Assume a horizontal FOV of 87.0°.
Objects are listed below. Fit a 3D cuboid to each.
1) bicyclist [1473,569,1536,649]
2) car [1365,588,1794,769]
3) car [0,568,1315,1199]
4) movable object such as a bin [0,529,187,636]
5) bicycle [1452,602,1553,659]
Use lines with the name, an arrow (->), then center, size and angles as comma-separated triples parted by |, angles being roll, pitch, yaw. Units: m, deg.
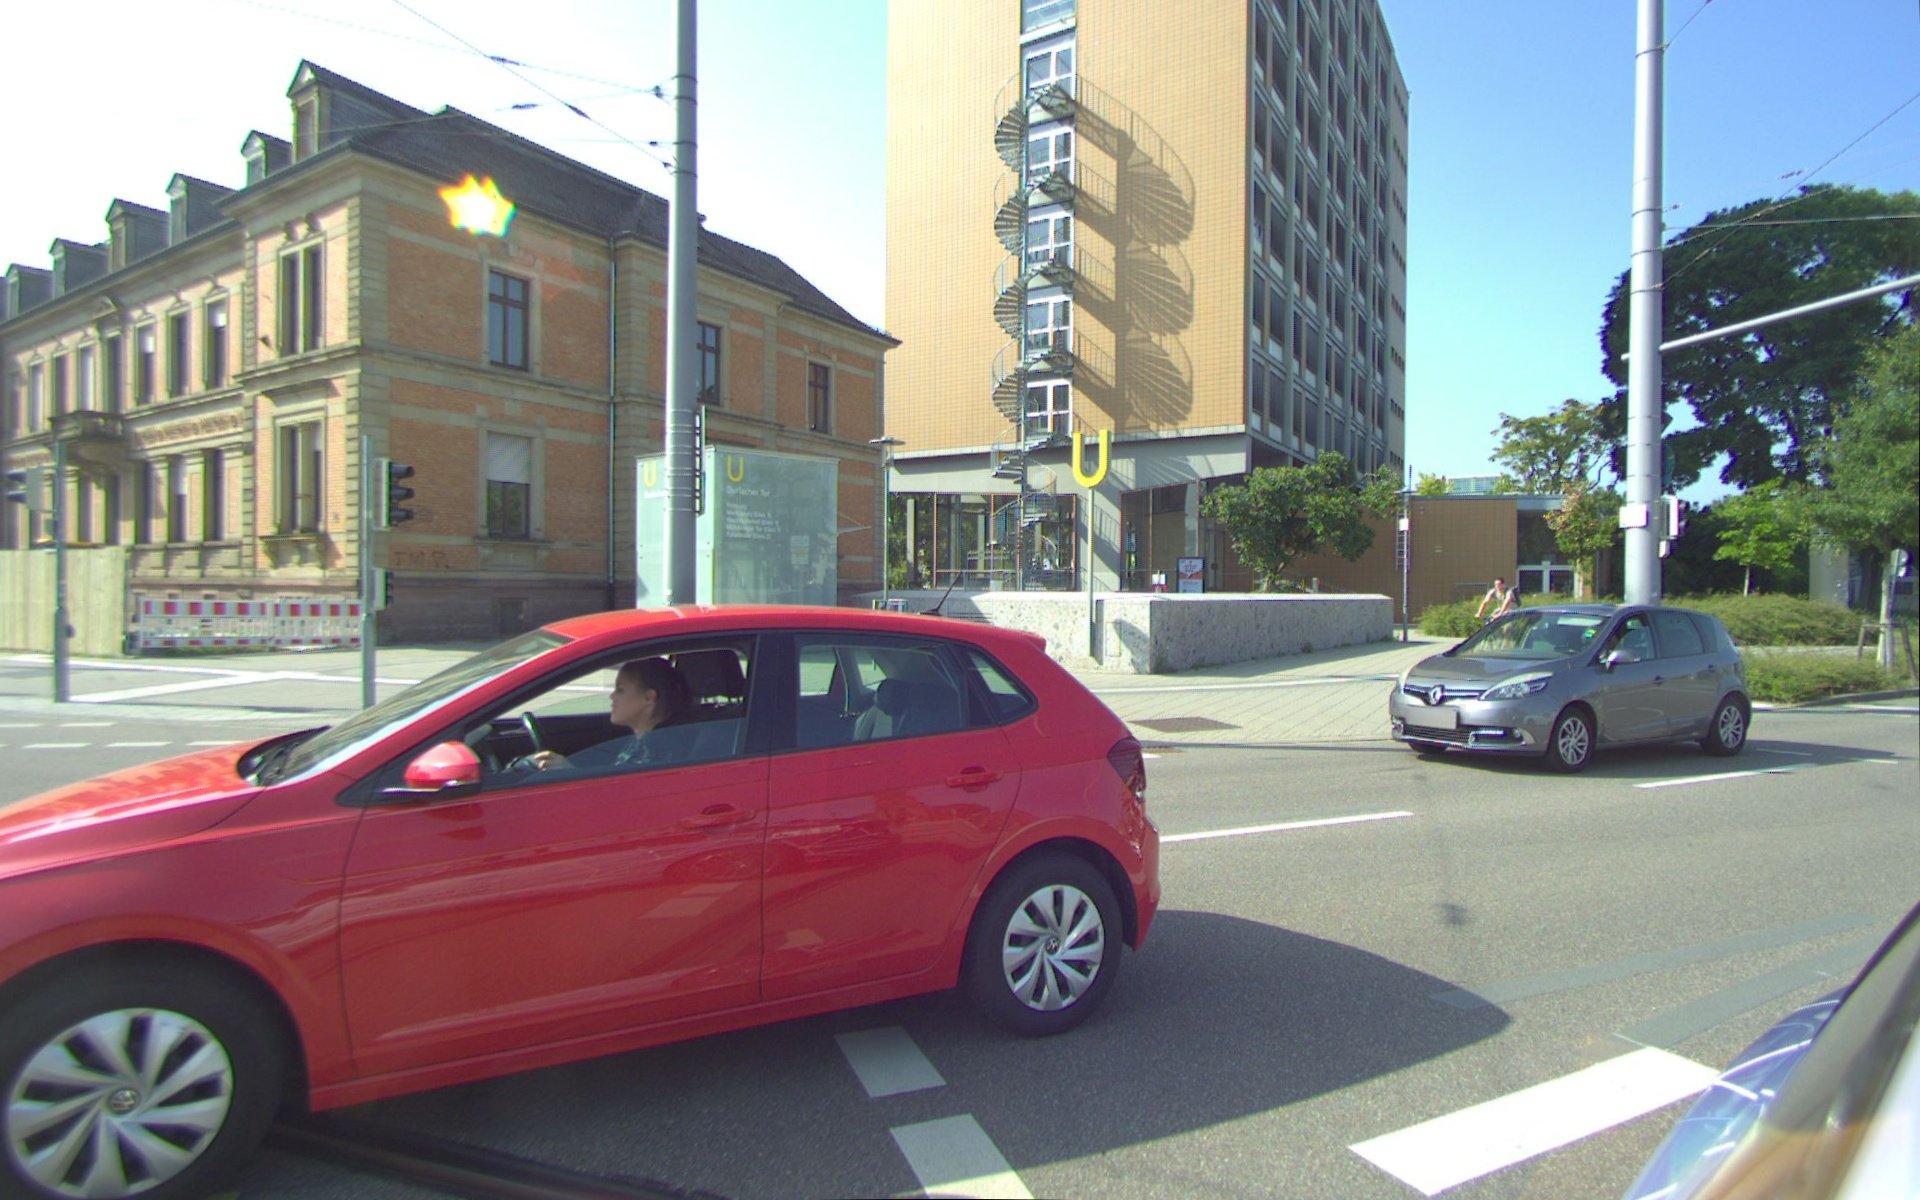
bicyclist -> 11.334, 0.180, 21.068 | 0.905, 1.613, 0.774 | 0, 0, -29
car -> 6.647, 0.758, 10.842 | 4.329, 1.627, 1.786 | 1, -2, -25
car -> -0.947, 0.683, 3.658 | 4.282, 1.510, 1.691 | 0, 1, -27
movable object such as a bin -> -23.553, -0.495, 26.441 | 7.908, 2.473, 2.428 | 1, 1, 29
bicycle -> 11.272, 0.610, 21.017 | 2.257, 1.131, 0.774 | 0, 0, -30
